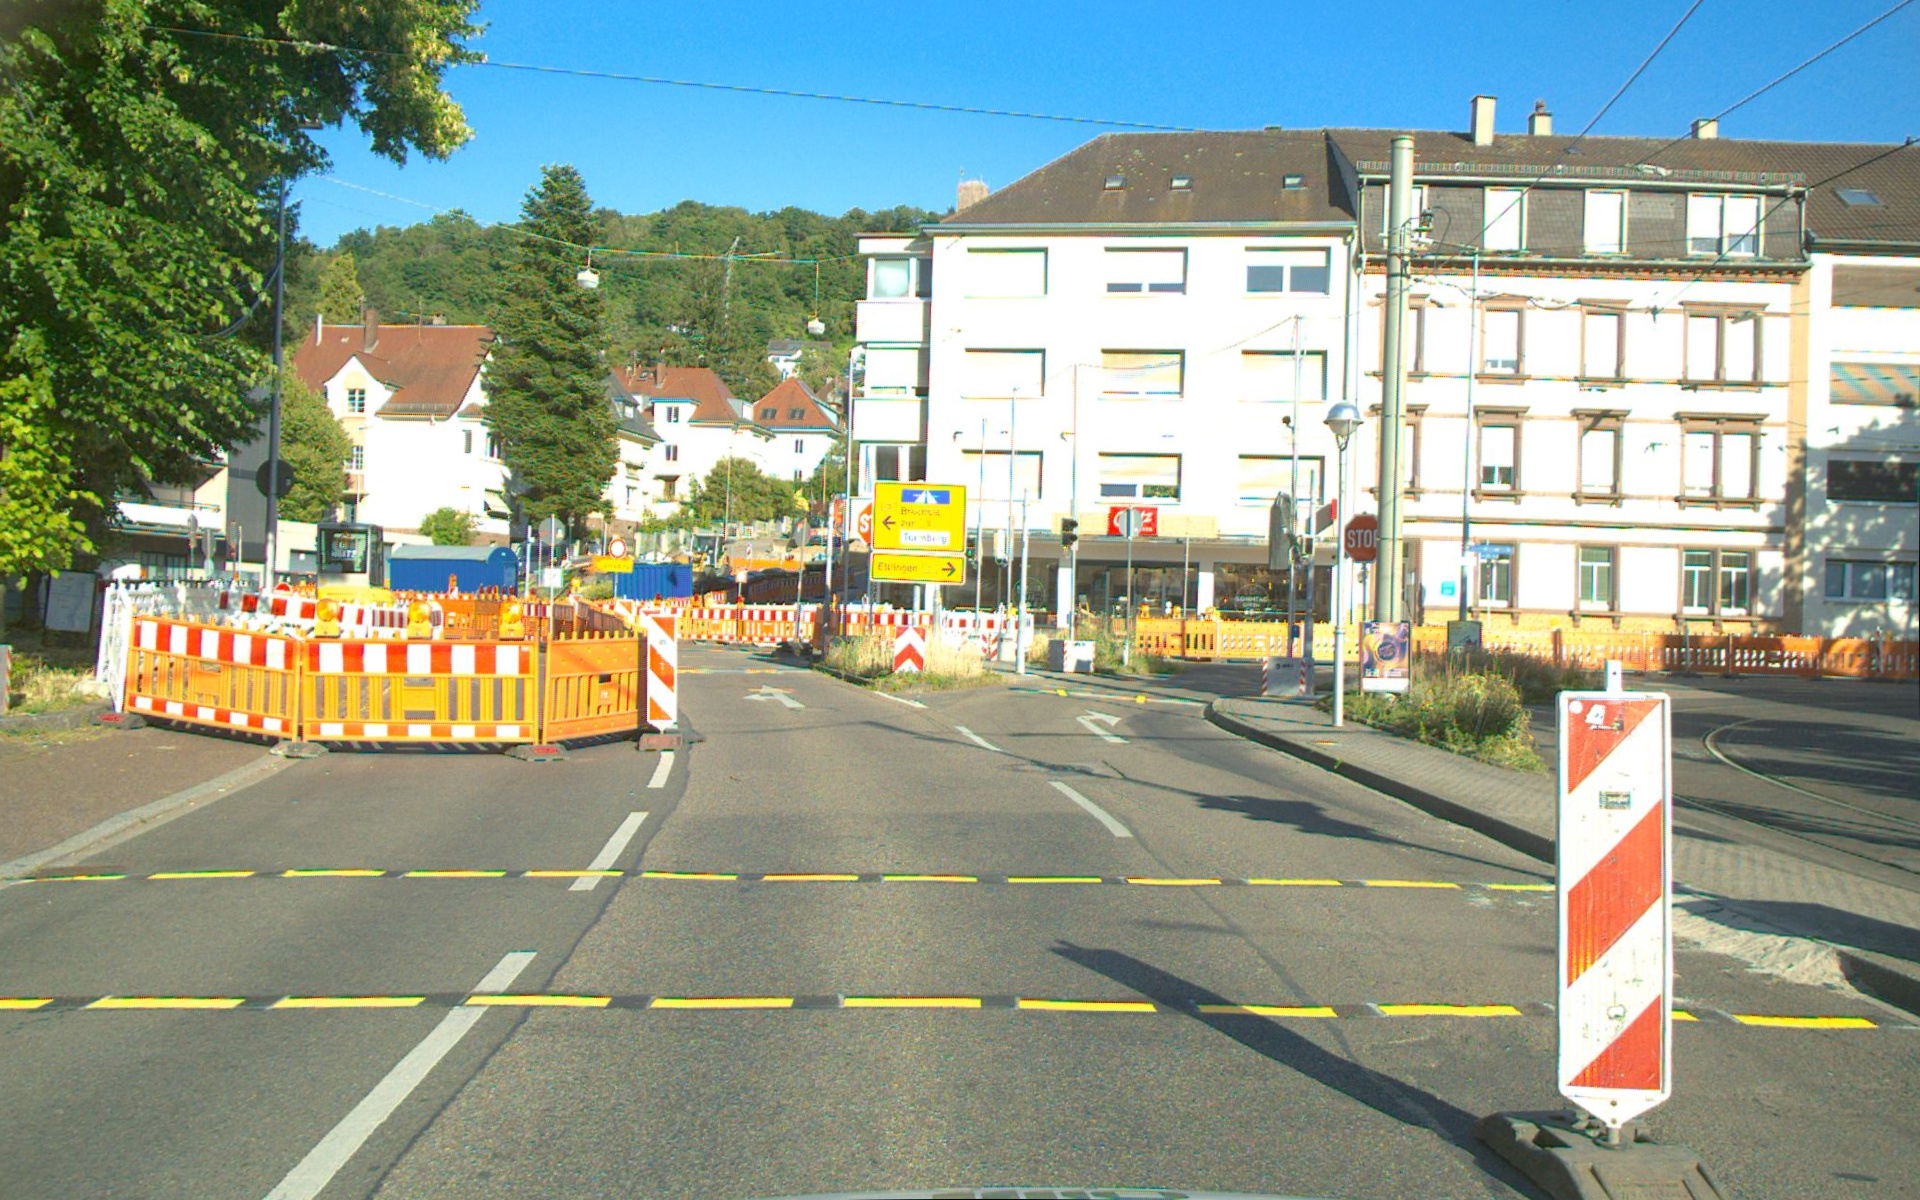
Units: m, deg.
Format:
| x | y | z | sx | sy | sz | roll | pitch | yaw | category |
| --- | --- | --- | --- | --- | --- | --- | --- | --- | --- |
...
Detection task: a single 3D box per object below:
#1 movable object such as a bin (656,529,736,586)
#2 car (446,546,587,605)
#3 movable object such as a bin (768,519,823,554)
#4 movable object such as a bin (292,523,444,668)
| x | y | z | sx | sy | sz | roll | pitch | yaw | category |
| --- | --- | --- | --- | --- | --- | --- | --- | --- | --- |
| -12.525 | -1.991 | 78.801 | 1.907 | 2.538 | 4.554 | 1 | 0 | 17 | movable object such as a bin |
| -17.581 | -0.932 | 65.921 | 2.529 | 2.158 | 6.154 | 1 | 0 | 17 | car |
| -11.364 | -4.373 | 114.752 | 2.510 | 2.159 | 5.789 | 1 | 0 | 8 | movable object such as a bin |
| -10.411 | -0.087 | 29.356 | 1.615 | 2.365 | 3.916 | 1 | 0 | -6 | movable object such as a bin |
